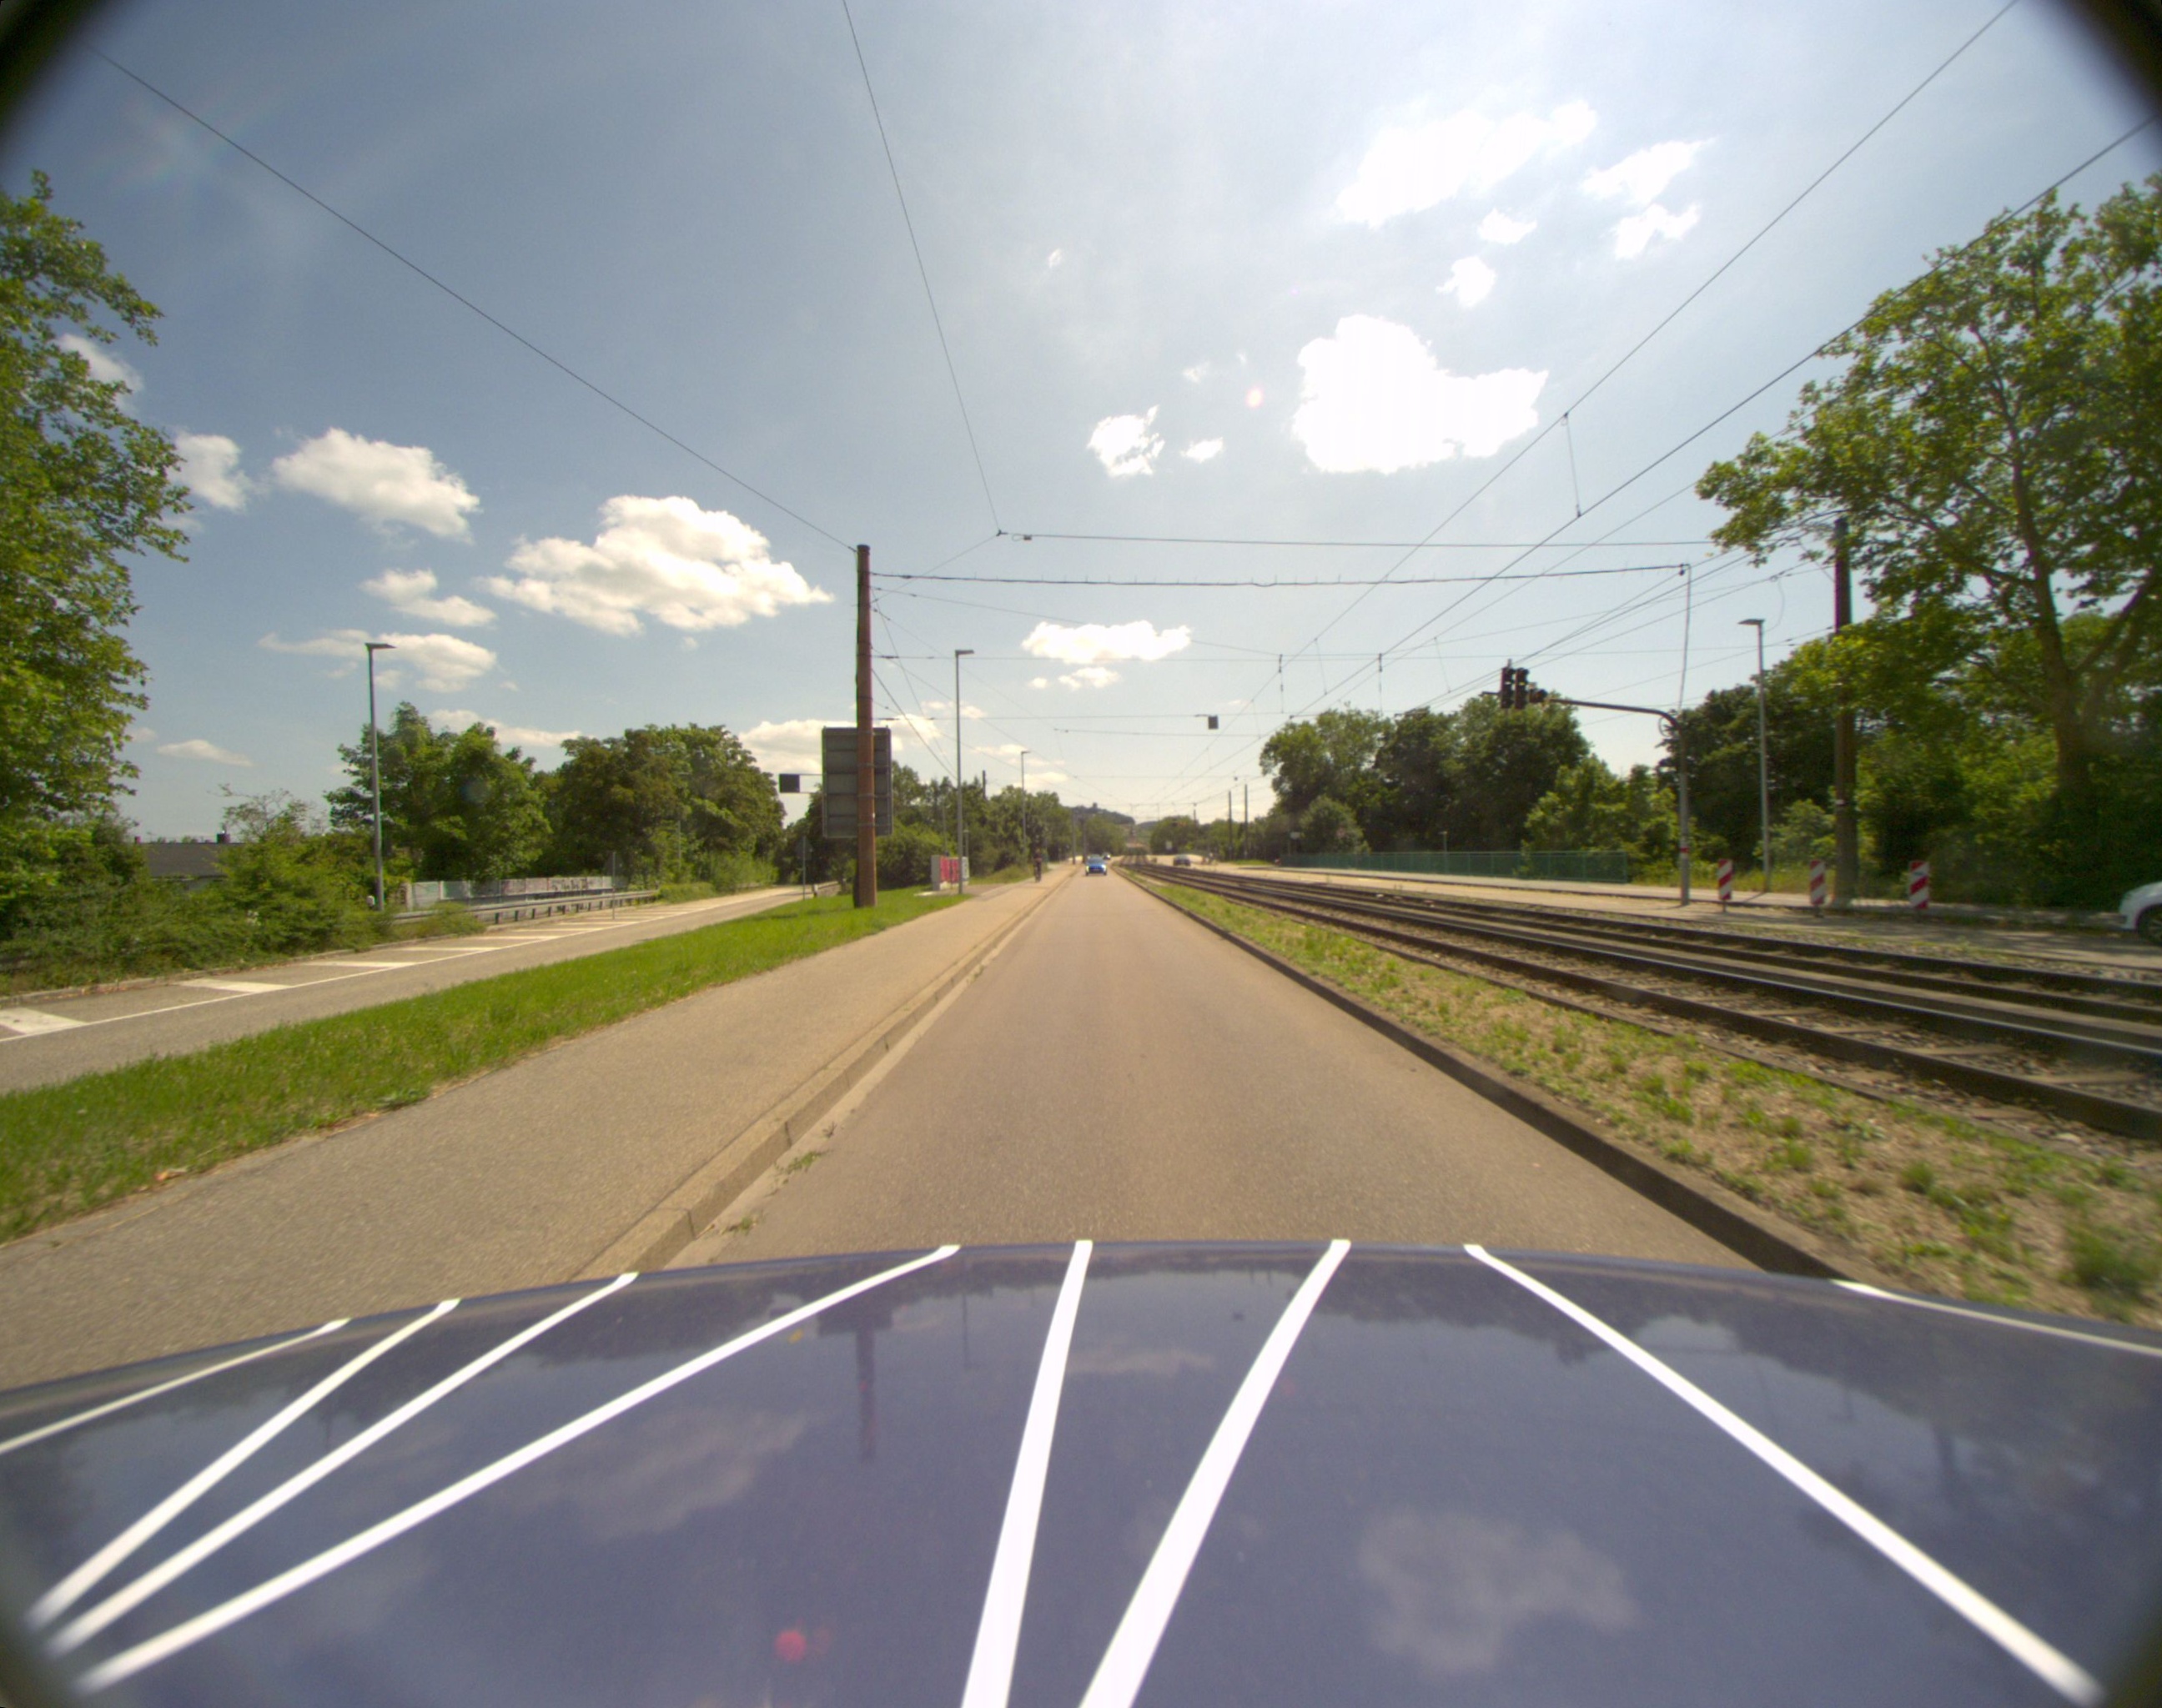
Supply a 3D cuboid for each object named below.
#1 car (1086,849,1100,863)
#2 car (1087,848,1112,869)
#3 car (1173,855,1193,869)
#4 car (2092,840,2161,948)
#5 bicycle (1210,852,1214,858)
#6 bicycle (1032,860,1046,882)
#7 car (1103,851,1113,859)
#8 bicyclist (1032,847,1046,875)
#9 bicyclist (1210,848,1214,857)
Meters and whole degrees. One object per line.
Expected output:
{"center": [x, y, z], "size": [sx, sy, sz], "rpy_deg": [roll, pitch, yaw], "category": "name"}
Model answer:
{"center": [1.582, 0.291, 101.622], "size": [1.683, 1.737, 3.686], "rpy_deg": [-3, -1, 2], "category": "car"}
{"center": [1.555, 0.384, 61.499], "size": [1.864, 1.630, 4.002], "rpy_deg": [-2, -1, 3], "category": "car"}
{"center": [13.384, 0.972, 100.223], "size": [1.880, 1.710, 5.330], "rpy_deg": [-2, 0, 0], "category": "car"}
{"center": [17.038, 0.588, 9.849], "size": [1.724, 1.621, 4.617], "rpy_deg": [1, -1, 0], "category": "car"}
{"center": [20.136, 0.178, 116.666], "size": [0.470, 0.863, 1.743], "rpy_deg": [-2, 1, 3], "category": "bicycle"}
{"center": [-2.295, 0.900, 41.373], "size": [0.433, 1.145, 1.856], "rpy_deg": [-3, -1, 6], "category": "bicycle"}
{"center": [5.777, 0.265, 162.710], "size": [1.729, 1.696, 4.002], "rpy_deg": [-2, 0, 5], "category": "car"}
{"center": [-2.296, 0.376, 41.616], "size": [0.586, 1.486, 0.558], "rpy_deg": [-3, -1, 6], "category": "bicyclist"}
{"center": [20.099, -0.236, 116.453], "size": [0.457, 1.465, 0.633], "rpy_deg": [-2, 1, 3], "category": "bicyclist"}
